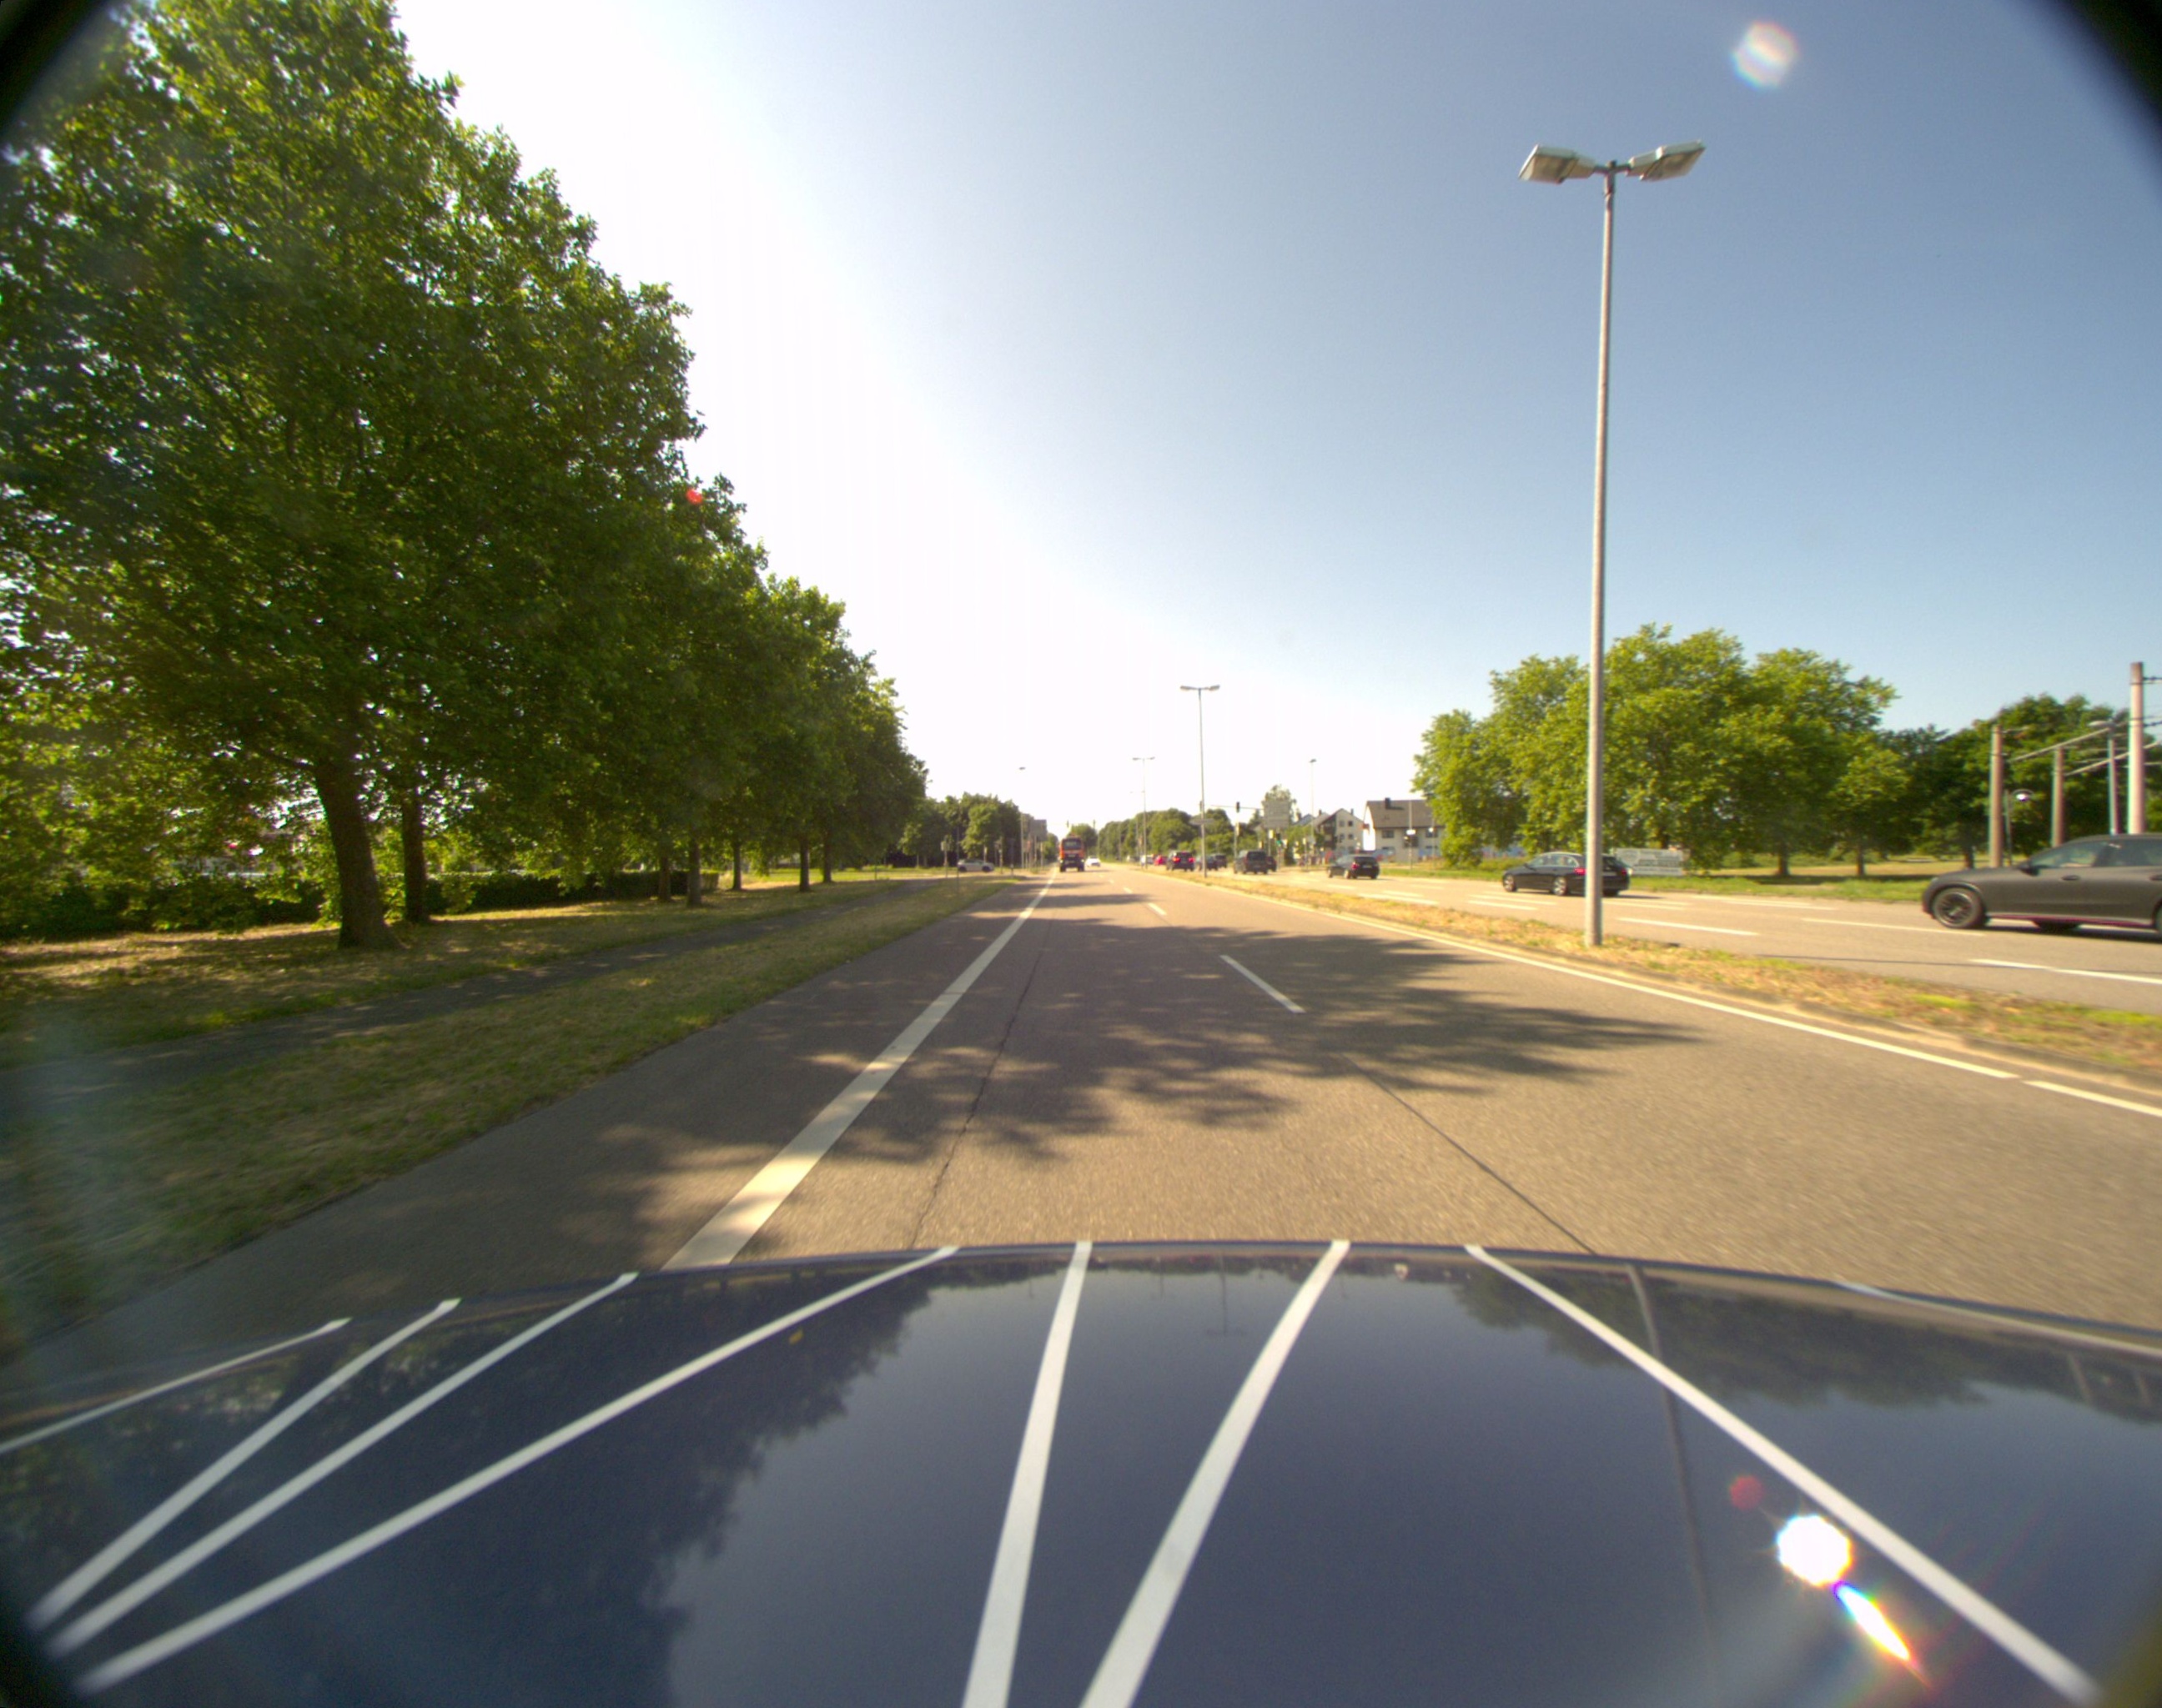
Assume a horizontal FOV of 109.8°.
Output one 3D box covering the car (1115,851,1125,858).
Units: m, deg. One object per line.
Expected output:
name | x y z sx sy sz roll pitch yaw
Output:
car | 9.061 0.136 177.646 1.986 1.449 4.332 0 0 0

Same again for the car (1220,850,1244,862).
car | 20.554 0.283 103.658 2.077 1.520 4.683 -1 0 -2

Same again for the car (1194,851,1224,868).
car | 11.716 0.504 69.662 1.986 1.449 4.449 1 0 0

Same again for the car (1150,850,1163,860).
car | 13.724 0.146 138.064 1.709 1.759 4.227 0 0 -5

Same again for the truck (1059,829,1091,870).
truck | -0.627 -0.470 75.772 2.941 3.852 6.589 -3 1 -1

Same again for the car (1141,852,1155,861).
car | 10.575 0.369 120.148 1.834 1.378 3.842 0 0 -2

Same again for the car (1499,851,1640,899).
car | 16.280 0.646 25.639 1.836 1.457 4.468 -1 0 -1

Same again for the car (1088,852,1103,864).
car | 2.001 0.540 104.717 1.869 1.499 4.337 -3 -1 -1

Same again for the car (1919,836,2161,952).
car | 16.317 0.551 11.617 1.987 1.650 4.554 -1 0 0

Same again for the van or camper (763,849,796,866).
van or camper | -52.624 0.631 132.640 4.813 2.815 1.999 -1 1 -4

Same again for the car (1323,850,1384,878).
car | 15.718 0.541 44.057 1.867 1.536 4.405 0 0 -1

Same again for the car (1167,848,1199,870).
car | 8.559 0.383 64.190 1.986 1.740 4.507 1 0 -1

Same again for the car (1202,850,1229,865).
car | 14.976 0.386 84.949 2.077 1.613 4.488 0 0 -2

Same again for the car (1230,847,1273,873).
car | 12.409 0.420 55.636 1.986 1.769 4.488 -1 0 -2

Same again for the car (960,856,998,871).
car | -11.300 1.075 84.440 4.062 1.555 1.742 -1 1 -2
